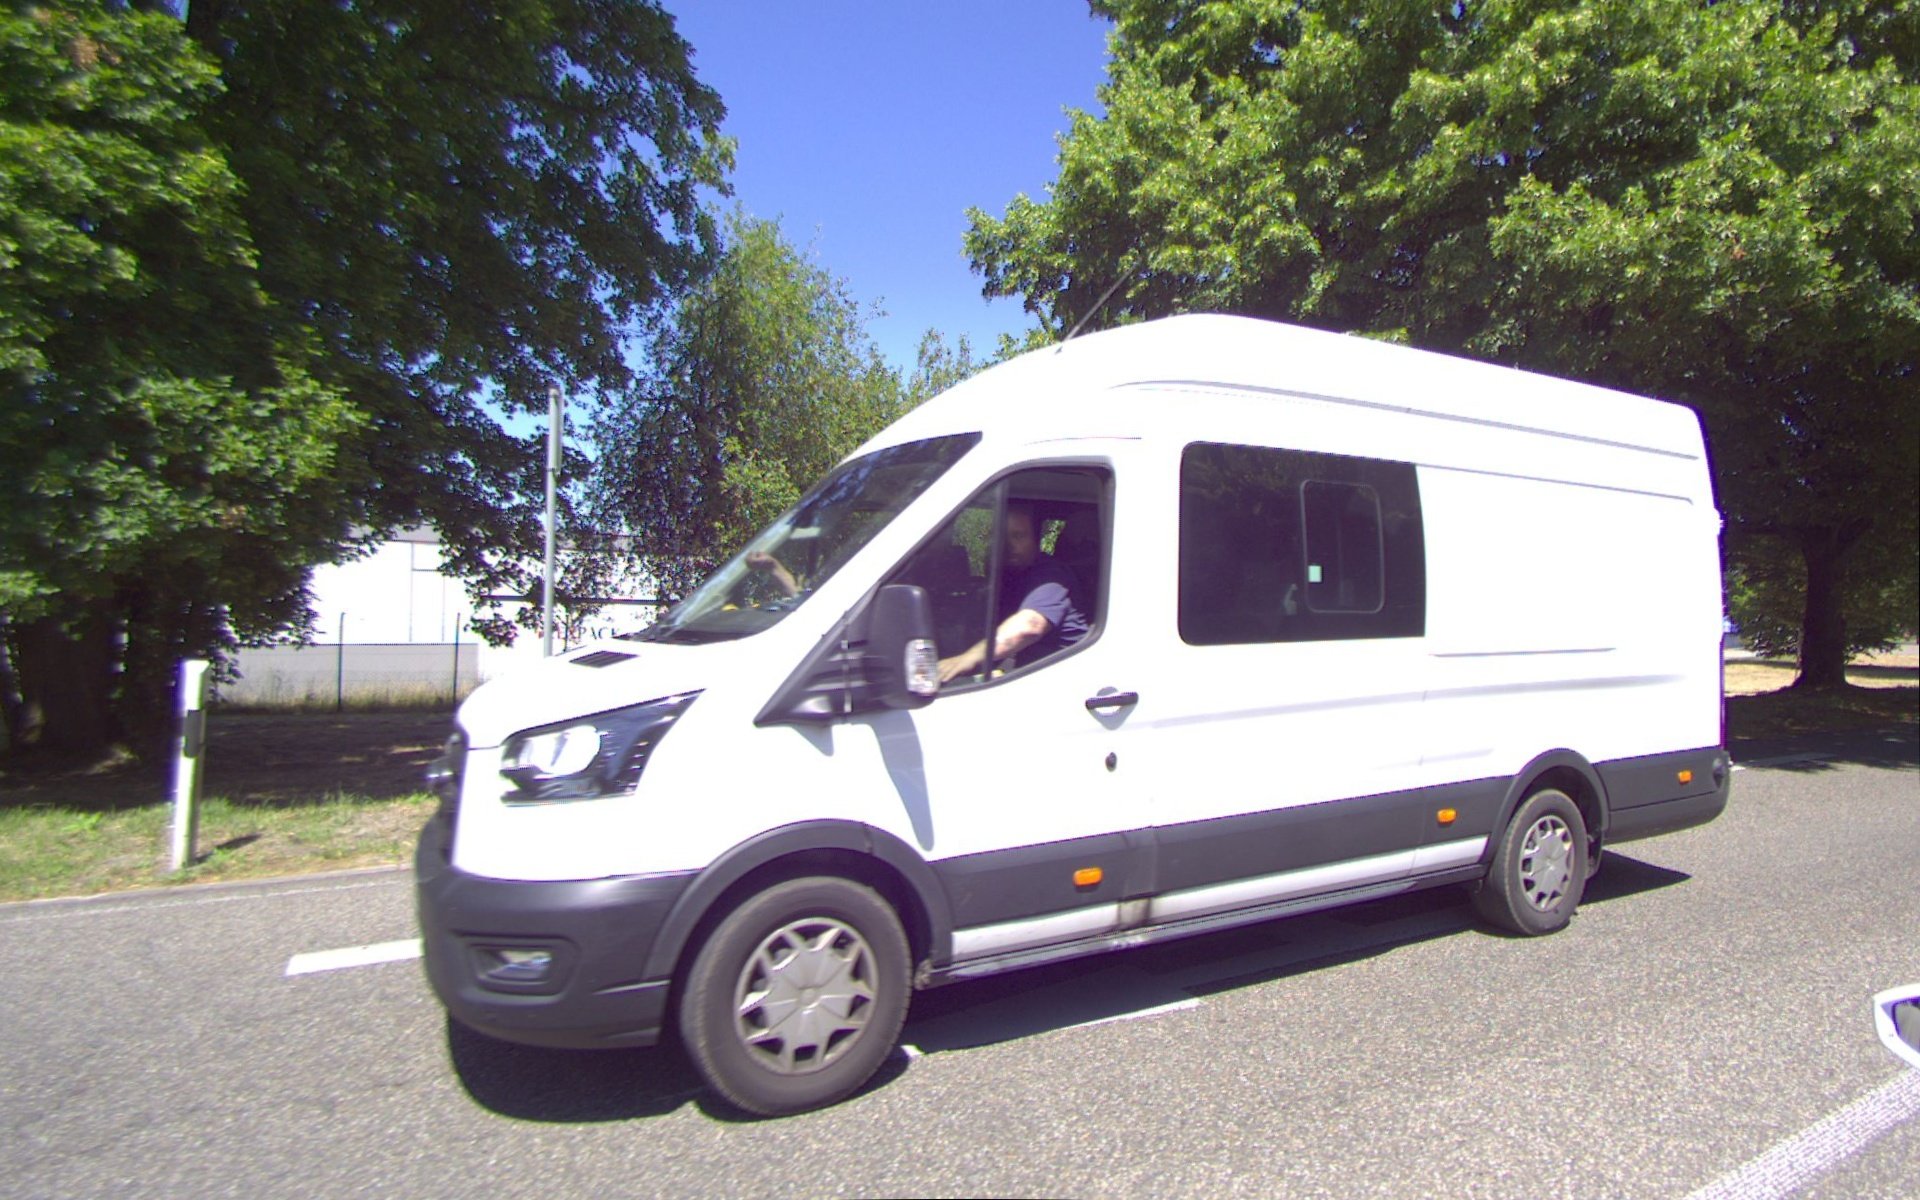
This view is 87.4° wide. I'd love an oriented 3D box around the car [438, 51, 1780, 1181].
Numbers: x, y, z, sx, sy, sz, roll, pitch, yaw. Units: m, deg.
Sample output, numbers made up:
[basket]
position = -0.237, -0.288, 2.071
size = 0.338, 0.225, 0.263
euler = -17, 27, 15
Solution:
[car]
position = 1.261, 0.118, 4.954
size = 6.703, 2.662, 2.063
euler = 2, 0, -30
